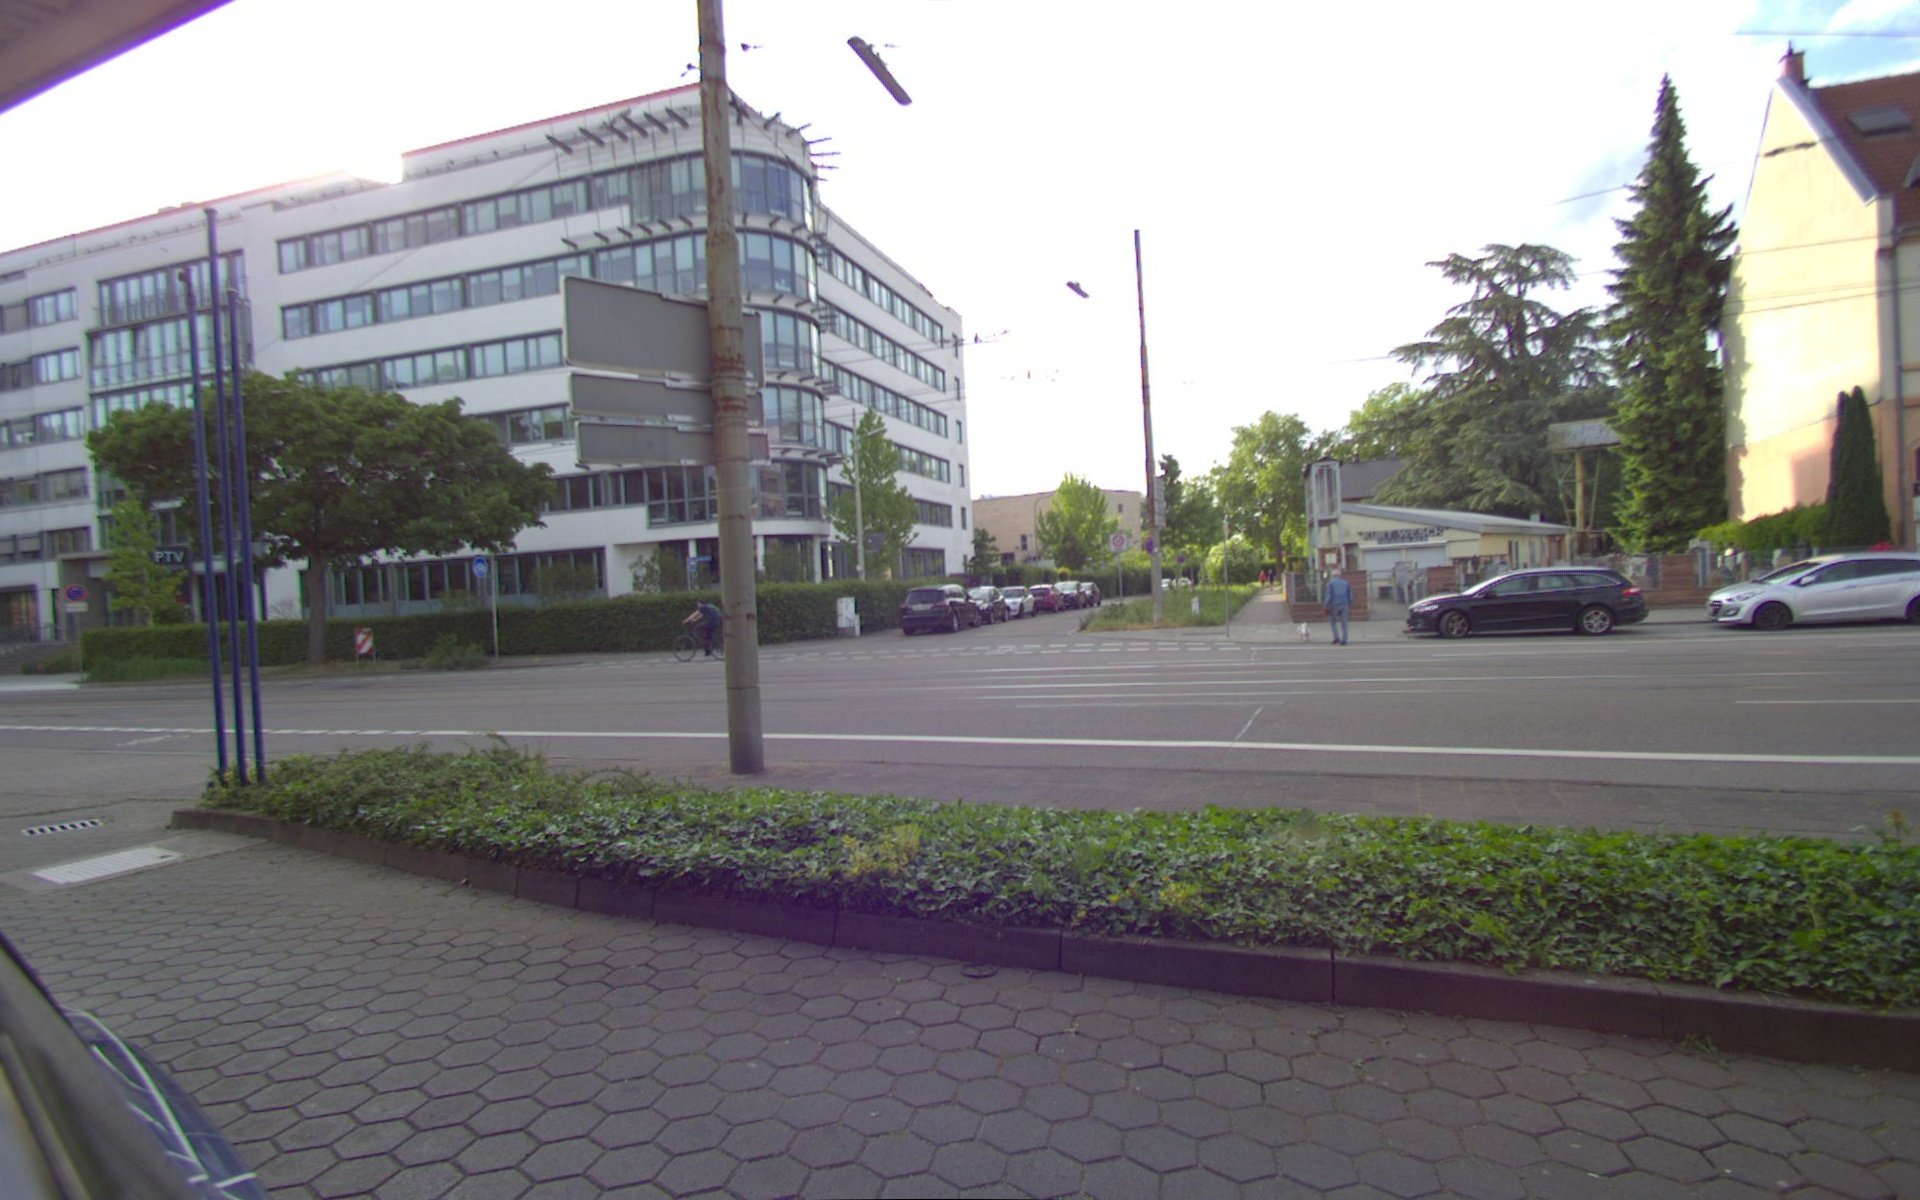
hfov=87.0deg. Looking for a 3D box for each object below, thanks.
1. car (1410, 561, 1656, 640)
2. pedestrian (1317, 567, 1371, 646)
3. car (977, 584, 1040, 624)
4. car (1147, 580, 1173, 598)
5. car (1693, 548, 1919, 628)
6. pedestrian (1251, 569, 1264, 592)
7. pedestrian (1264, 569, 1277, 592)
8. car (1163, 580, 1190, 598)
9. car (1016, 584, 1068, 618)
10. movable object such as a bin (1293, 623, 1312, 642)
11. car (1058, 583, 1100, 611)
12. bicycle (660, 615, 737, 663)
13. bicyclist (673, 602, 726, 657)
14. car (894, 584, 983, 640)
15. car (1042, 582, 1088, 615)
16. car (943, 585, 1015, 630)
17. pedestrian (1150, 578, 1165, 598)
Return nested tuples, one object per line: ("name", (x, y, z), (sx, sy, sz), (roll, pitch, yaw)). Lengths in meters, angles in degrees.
("car", (13.025, 0.012, 23.368), (4.632, 1.533, 1.842), (-3, 2, 22))
("pedestrian", (8.655, 0.134, 22.850), (0.900, 1.712, 0.922), (-3, 1, 10))
("car", (2.237, 0.157, 45.686), (1.807, 1.589, 4.175), (-4, 0, 16))
("car", (19.972, -1.130, 100.908), (1.811, 1.654, 4.044), (-4, 0, 22))
("car", (18.418, -0.264, 21.397), (4.349, 1.493, 1.732), (-3, 1, 22))
("pedestrian", (24.972, -1.608, 84.924), (0.965, 1.896, 1.056), (-1, 0, 17))
("pedestrian", (25.945, -1.621, 84.634), (0.965, 1.896, 1.056), (-1, 0, 17))
("car", (22.850, -1.150, 106.854), (1.813, 1.654, 4.040), (-4, 0, 25))
("car", (4.313, 0.027, 52.408), (1.807, 1.589, 4.175), (-4, 0, 16))
("movable object such as a bin", (8.281, 0.788, 24.473), (0.363, 0.397, 0.660), (-3, 2, 14))
("car", (7.399, -0.208, 62.571), (1.807, 1.585, 4.052), (-4, 0, 16))
("bicycle", (-7.092, 1.055, 27.497), (1.863, 1.248, 0.788), (-1, 0, 13))
("bicyclist", (-7.065, 0.788, 27.500), (1.164, 1.462, 0.788), (-1, 0, 12))
("car", (-0.675, 0.362, 35.567), (1.807, 1.701, 4.370), (-4, 1, 16))
("car", (6.044, -0.131, 57.806), (1.807, 1.704, 4.392), (-4, 0, 16))
("car", (0.843, 0.275, 40.982), (1.807, 1.589, 4.175), (-4, 0, 16))
("pedestrian", (18.631, -1.130, 95.252), (0.973, 1.896, 1.047), (-1, 0, 40))
